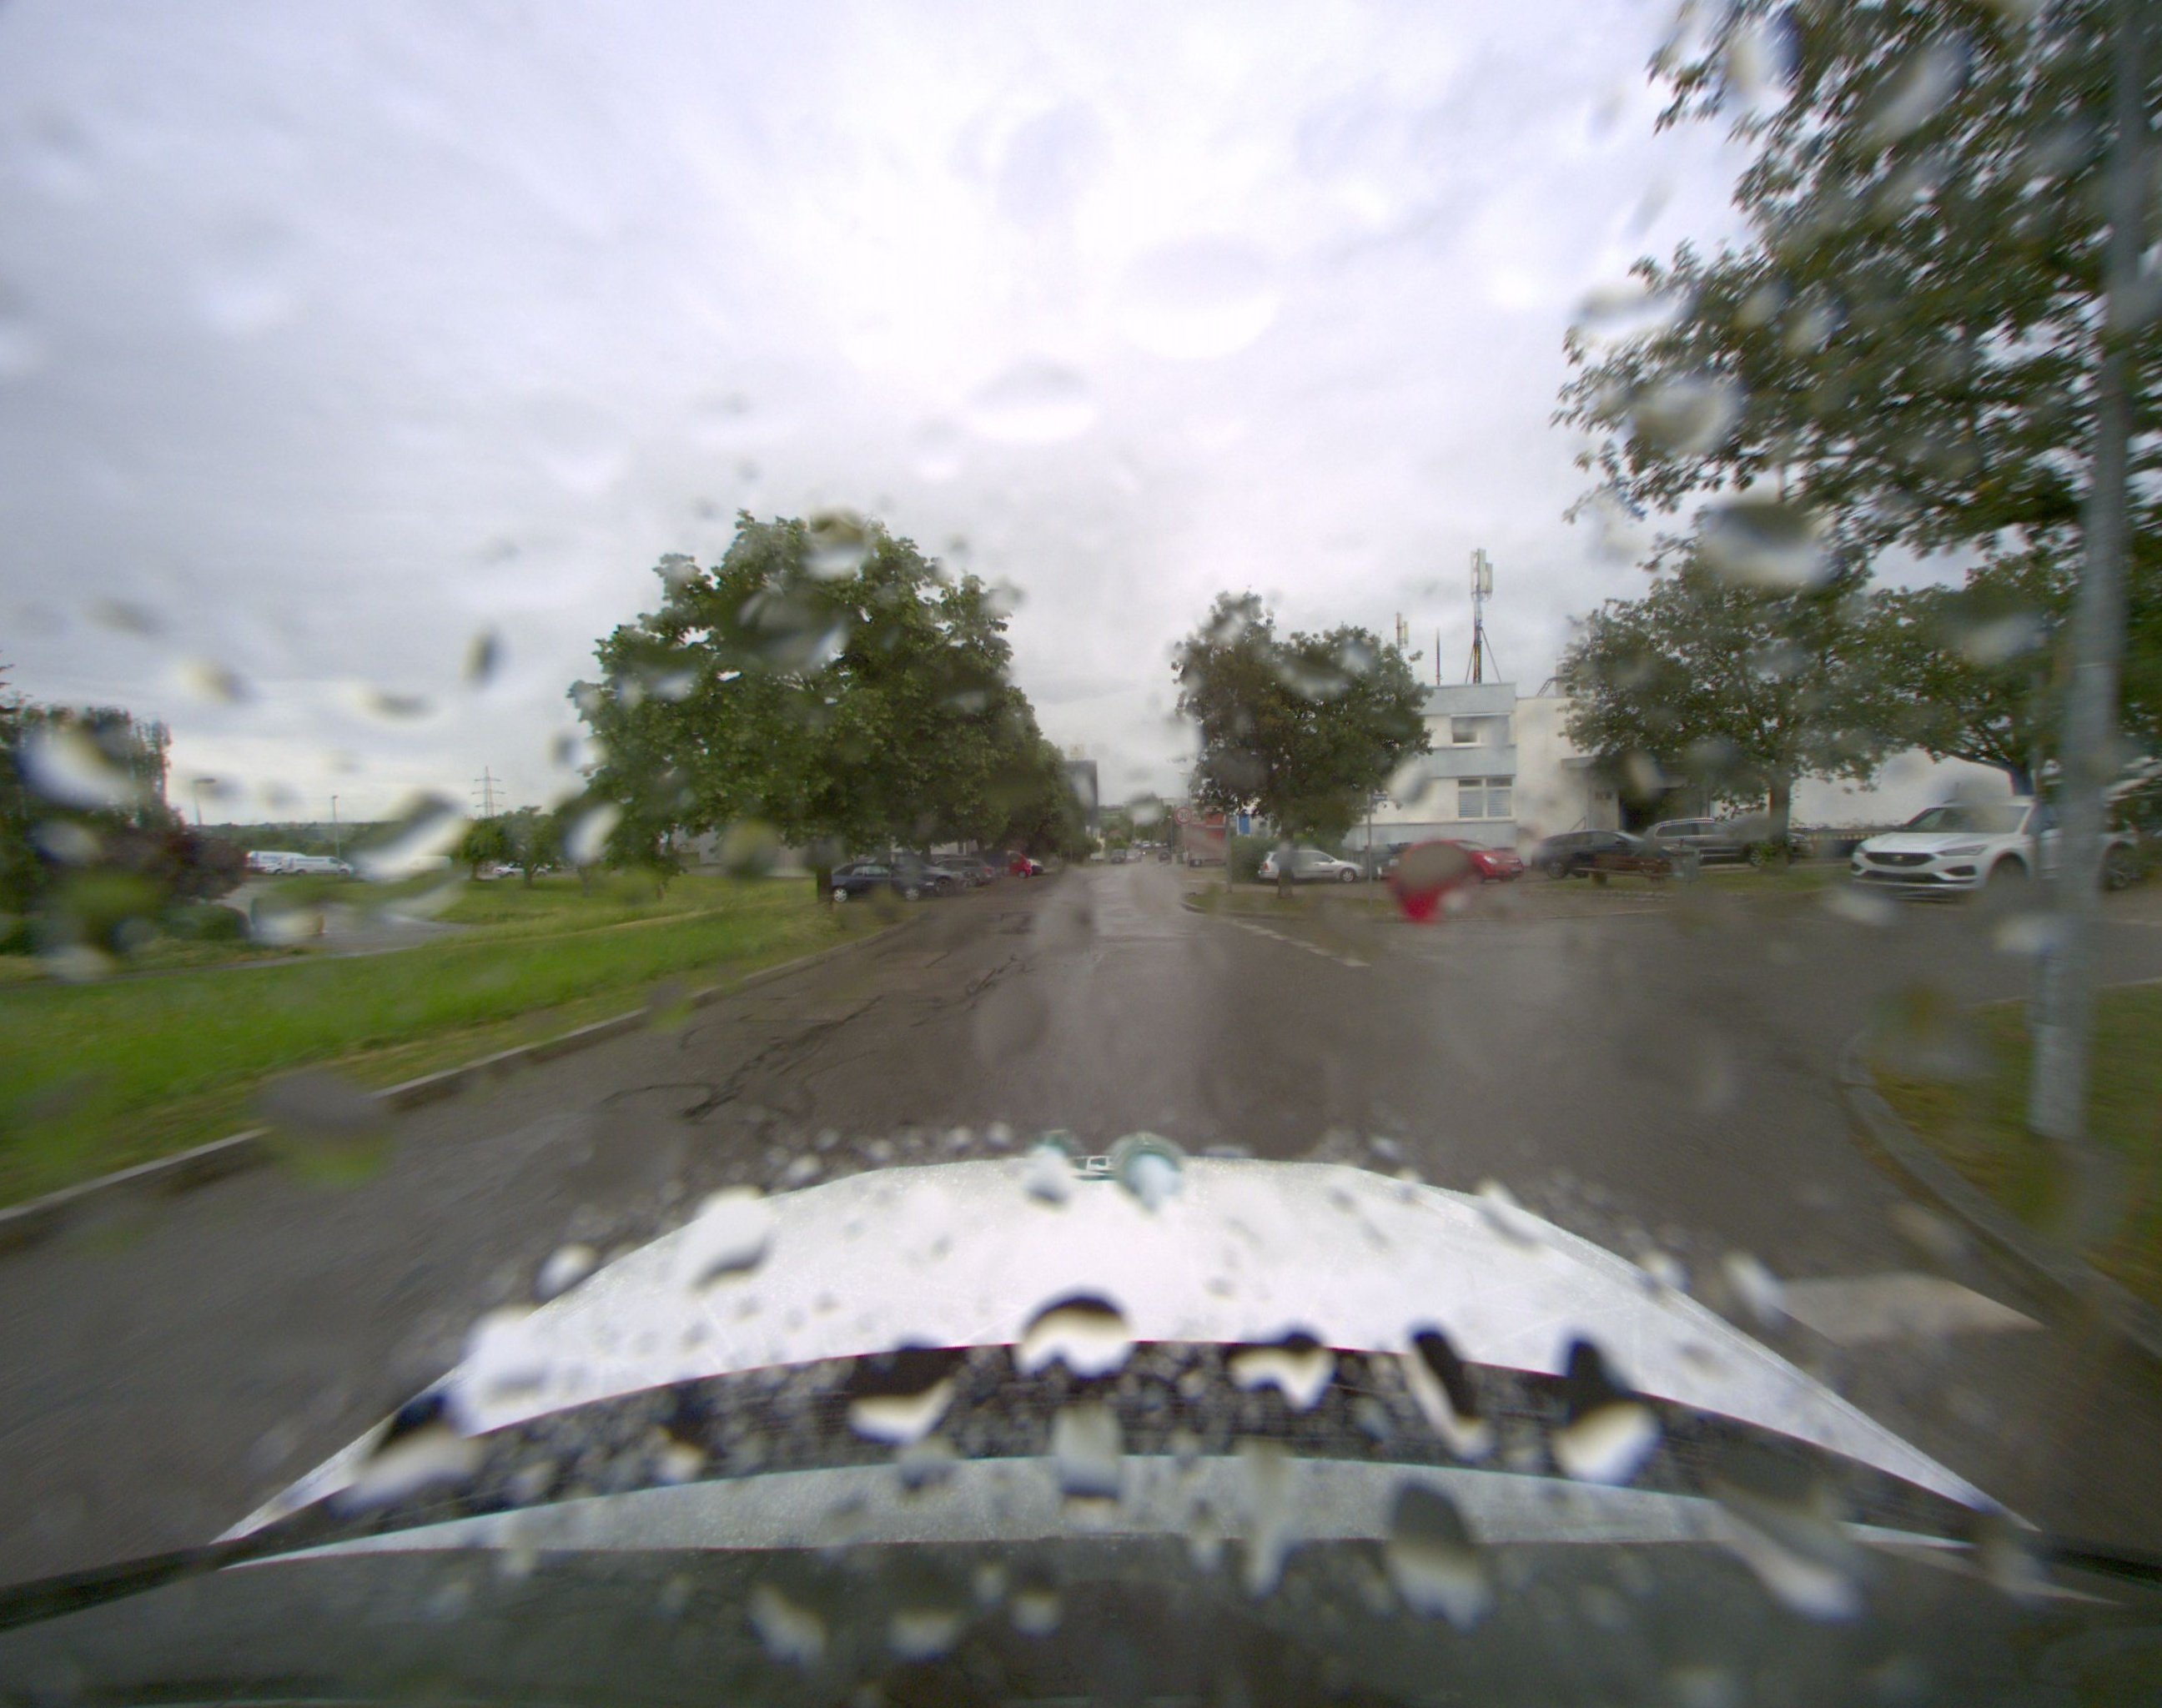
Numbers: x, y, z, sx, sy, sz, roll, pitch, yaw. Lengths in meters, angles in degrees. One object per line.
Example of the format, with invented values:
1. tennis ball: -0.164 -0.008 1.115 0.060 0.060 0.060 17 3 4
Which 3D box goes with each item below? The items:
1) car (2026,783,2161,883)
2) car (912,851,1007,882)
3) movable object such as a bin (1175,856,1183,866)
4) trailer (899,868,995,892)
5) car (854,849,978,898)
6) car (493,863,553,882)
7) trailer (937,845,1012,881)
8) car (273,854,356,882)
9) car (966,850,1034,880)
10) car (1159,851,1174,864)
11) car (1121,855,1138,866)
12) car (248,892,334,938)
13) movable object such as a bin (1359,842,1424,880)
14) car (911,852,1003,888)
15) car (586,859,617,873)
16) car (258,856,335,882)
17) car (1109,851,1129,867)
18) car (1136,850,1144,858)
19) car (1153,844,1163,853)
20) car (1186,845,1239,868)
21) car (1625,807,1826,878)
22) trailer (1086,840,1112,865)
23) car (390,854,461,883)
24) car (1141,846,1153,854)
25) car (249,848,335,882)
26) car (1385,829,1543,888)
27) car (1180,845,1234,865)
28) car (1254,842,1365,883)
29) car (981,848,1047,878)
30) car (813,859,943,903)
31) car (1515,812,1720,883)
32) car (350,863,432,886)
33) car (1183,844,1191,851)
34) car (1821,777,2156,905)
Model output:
1. car: 20.509 -0.444 15.429 4.015 1.732 1.945 -2 1 -16
2. car: -6.279 0.654 42.444 4.595 1.590 1.809 0 -1 5
3. movable object such as a bin: 10.546 0.725 87.261 0.767 1.030 0.810 -2 0 9
4. trailer: -6.073 1.172 37.198 3.925 0.961 2.002 -1 0 3
5. car: -6.377 0.757 31.840 4.352 1.722 2.045 -2 -1 1
6. car: -58.925 1.934 86.100 2.261 1.648 4.649 -4 0 33
7. trailer: -6.527 0.556 50.267 4.192 1.984 1.776 -2 -1 5
8. car: -78.384 1.363 83.391 1.975 2.701 5.846 0 0 26
9. car: -5.246 0.711 53.034 4.179 1.722 1.756 -2 -1 2
10. car: 11.959 0.549 113.948 1.947 1.675 4.477 -2 -1 4
11. car: 6.847 0.905 114.451 1.945 1.461 5.259 -2 0 8
12. car: -43.170 3.360 44.473 4.446 2.220 1.942 -4 0 27
13. movable object such as a bin: 13.547 0.312 35.664 2.254 1.503 1.736 -4 0 7
14. car: -6.036 0.760 39.879 4.053 1.722 2.029 0 -1 6
15. car: -60.489 1.495 102.675 3.948 1.618 1.823 -2 0 34
16. car: -83.237 1.584 86.508 1.975 2.570 5.464 -3 -1 27
17. car: 4.666 0.624 99.936 1.904 1.831 4.860 -2 0 9
18. car: 13.532 -0.003 185.915 1.739 1.508 3.940 -4 -1 5
19. car: 21.357 -1.457 226.208 2.186 2.459 3.999 -2 -1 -1
20. car: 11.295 0.187 70.073 4.318 1.773 2.093 -2 0 6
21. car: 19.739 -0.271 25.149 1.866 1.798 4.412 1 -4 -34
22. trailer: 3.164 -0.207 143.431 2.018 4.203 4.135 -2 -1 -44
23. car: -86.915 1.917 108.085 2.511 3.425 6.774 -4 0 33
24. car: 18.337 -1.137 226.139 2.263 2.014 3.989 -2 -1 -8
25. car: -85.312 1.158 88.181 1.974 3.429 6.341 -3 -1 33
26. car: 12.212 0.184 26.268 1.863 1.585 4.287 -2 -3 -28
27. car: 11.301 0.083 73.190 4.572 1.538 2.083 -4 0 7
28. car: 9.799 0.371 35.210 4.293 1.584 1.861 -2 -1 4
29. car: -4.726 0.640 58.055 4.273 1.906 1.867 -2 -1 10
30. car: -7.178 0.957 29.167 4.203 1.431 1.772 -1 -1 -3
31. car: 16.287 -0.138 25.027 1.865 1.585 4.781 -2 -6 -32
32. car: -65.432 1.919 77.293 2.261 1.975 5.457 -4 -2 33
33. car: 24.838 -1.418 190.426 1.688 1.475 4.008 -2 -1 7
34. car: 15.681 -0.248 14.135 4.708 1.814 1.937 -4 0 -15
